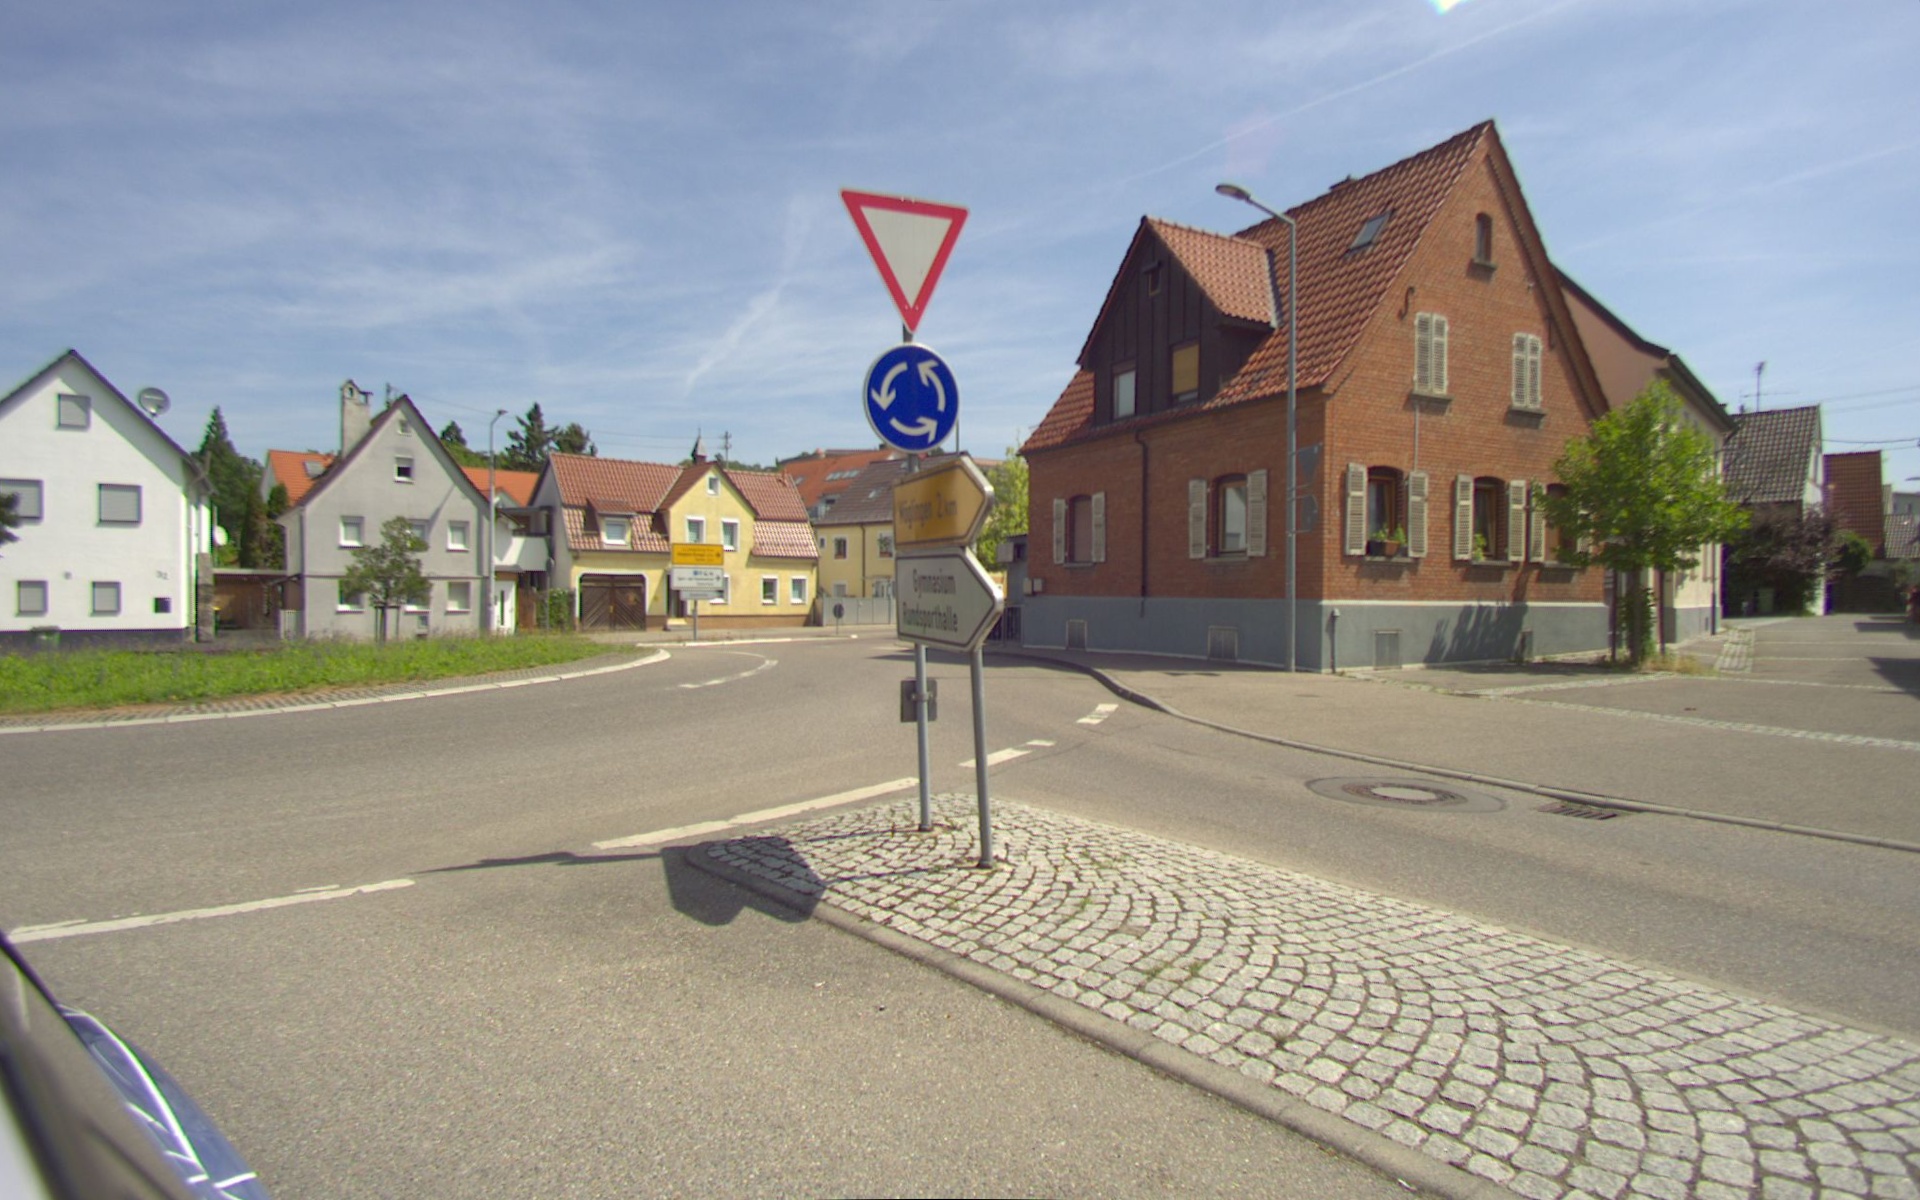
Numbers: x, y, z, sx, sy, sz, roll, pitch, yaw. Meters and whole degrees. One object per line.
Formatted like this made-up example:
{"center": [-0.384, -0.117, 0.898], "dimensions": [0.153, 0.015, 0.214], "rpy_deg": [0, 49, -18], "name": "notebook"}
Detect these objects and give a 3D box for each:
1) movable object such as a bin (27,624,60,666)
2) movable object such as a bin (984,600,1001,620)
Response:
{"center": [-24.080, 1.162, 26.587], "dimensions": [0.904, 1.056, 0.571], "rpy_deg": [-1, 0, 45], "name": "movable object such as a bin"}
{"center": [1.763, 0.541, 54.729], "dimensions": [0.697, 1.060, 0.667], "rpy_deg": [-1, 0, 35], "name": "movable object such as a bin"}
